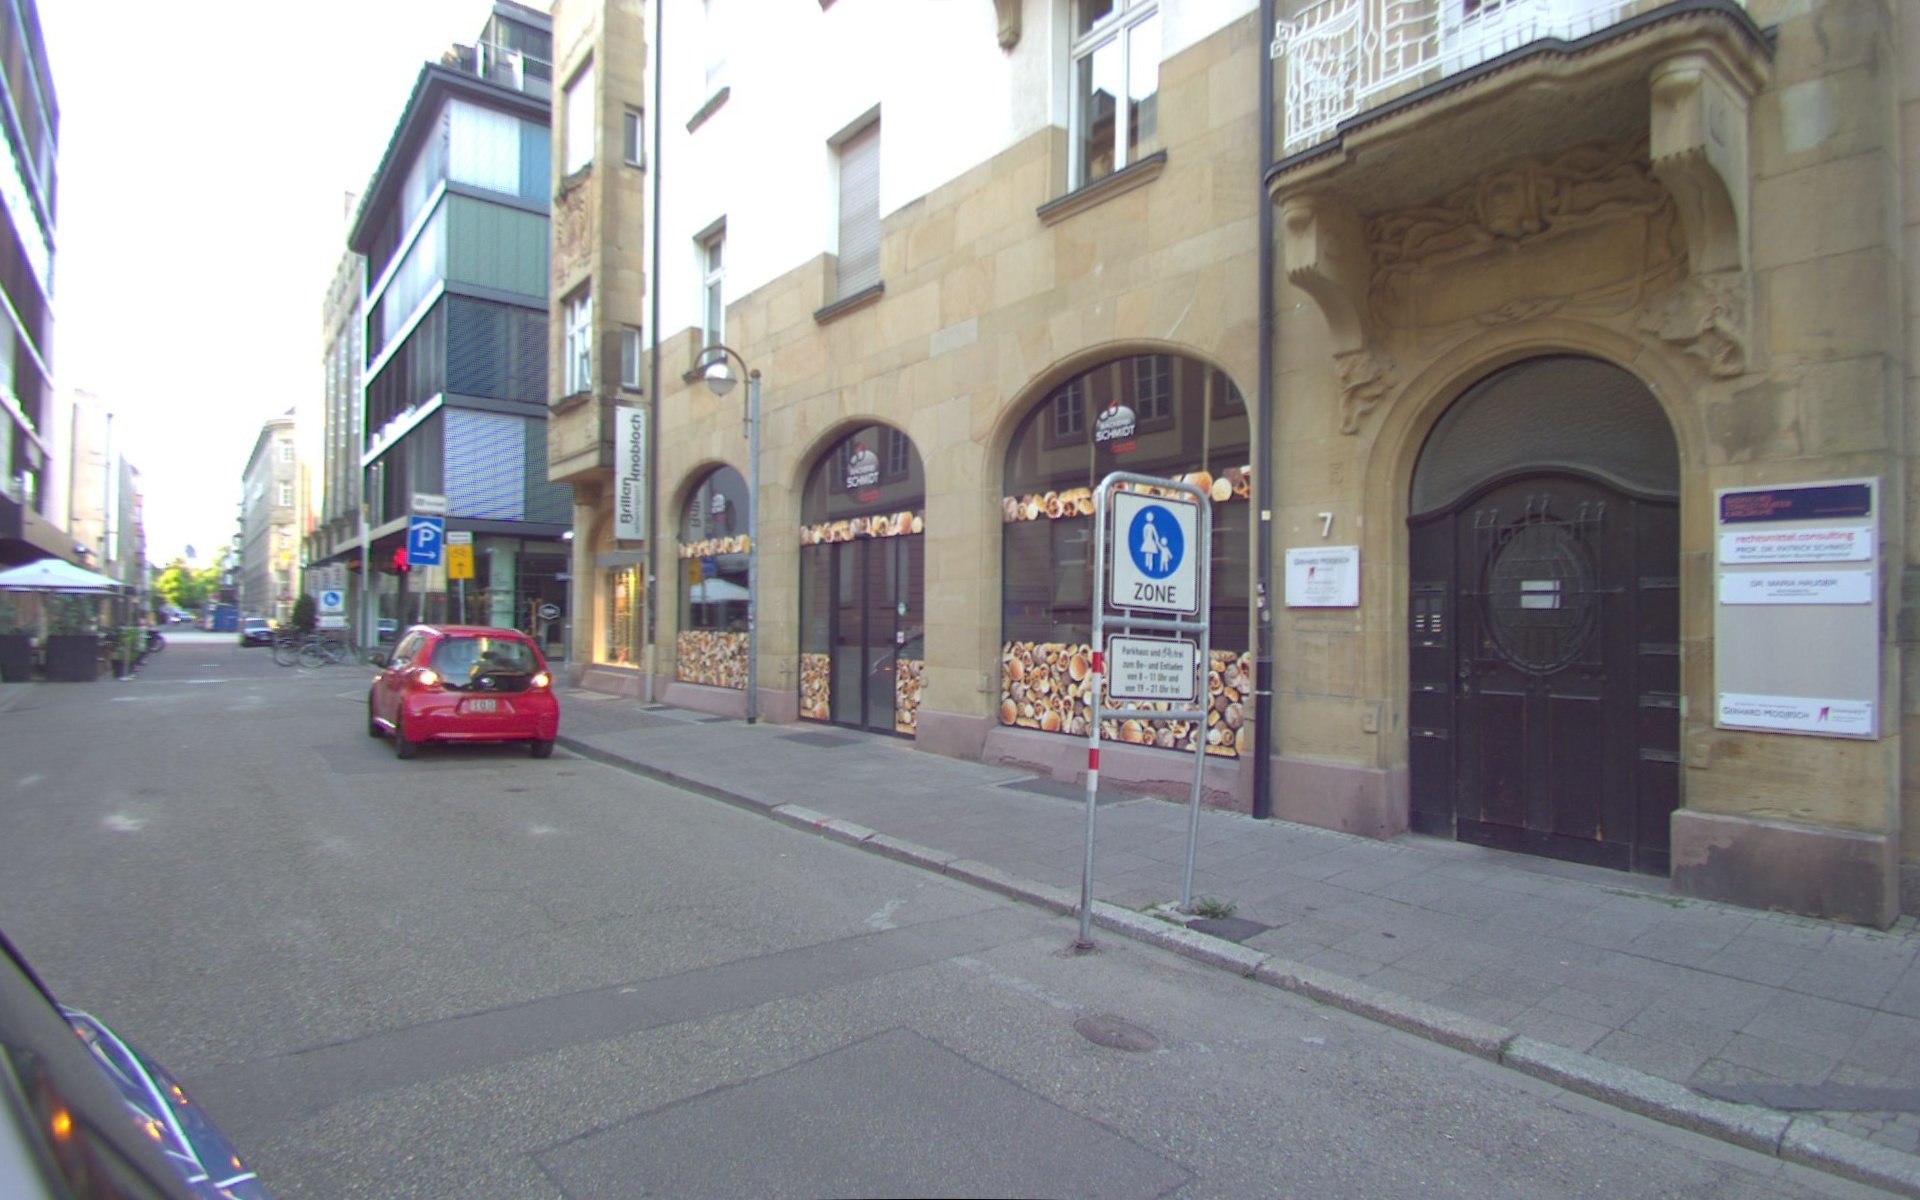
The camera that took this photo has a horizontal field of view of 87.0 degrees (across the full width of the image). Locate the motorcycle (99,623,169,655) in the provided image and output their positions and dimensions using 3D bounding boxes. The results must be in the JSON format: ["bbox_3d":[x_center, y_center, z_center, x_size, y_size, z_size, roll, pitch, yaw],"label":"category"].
[{"bbox_3d":[-34.338,1.640,42.106,2.158,1.292,0.653,3,-2,-36],"label":"motorcycle"}]

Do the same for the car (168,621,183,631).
[{"bbox_3d":[-92.962,3.062,119.857,1.404,1.104,3.570,0,-1,-38],"label":"car"}]

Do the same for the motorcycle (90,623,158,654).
[{"bbox_3d":[-35.699,1.661,43.234,2.158,1.292,0.653,3,-2,-36],"label":"motorcycle"}]

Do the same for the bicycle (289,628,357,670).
[{"bbox_3d":[-18.008,1.372,28.635,1.582,1.127,0.621,0,-1,-37],"label":"bicycle"}]

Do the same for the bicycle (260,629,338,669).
[{"bbox_3d":[-19.774,1.437,30.303,1.922,1.139,0.621,0,-1,-37],"label":"bicycle"}]

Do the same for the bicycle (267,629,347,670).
[{"bbox_3d":[-19.115,1.427,29.661,1.922,1.139,0.621,0,-1,-37],"label":"bicycle"}]

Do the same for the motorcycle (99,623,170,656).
[{"bbox_3d":[-33.713,1.627,41.369,2.158,1.292,0.653,3,-2,-36],"label":"motorcycle"}]

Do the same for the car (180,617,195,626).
[{"bbox_3d":[-109.346,3.000,143.240,1.405,1.276,3.567,1,-1,-43],"label":"car"}]

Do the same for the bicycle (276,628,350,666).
[{"bbox_3d":[-20.476,1.479,32.046,1.922,1.139,0.527,0,-1,-37],"label":"bicycle"}]

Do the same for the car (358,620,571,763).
[{"bbox_3d":[-5.981,1.016,12.064,1.612,1.452,3.163,5,-4,-37],"label":"car"}]

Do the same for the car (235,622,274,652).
[{"bbox_3d":[-35.670,1.832,51.165,1.404,1.428,3.903,0,-1,-38],"label":"car"}]
